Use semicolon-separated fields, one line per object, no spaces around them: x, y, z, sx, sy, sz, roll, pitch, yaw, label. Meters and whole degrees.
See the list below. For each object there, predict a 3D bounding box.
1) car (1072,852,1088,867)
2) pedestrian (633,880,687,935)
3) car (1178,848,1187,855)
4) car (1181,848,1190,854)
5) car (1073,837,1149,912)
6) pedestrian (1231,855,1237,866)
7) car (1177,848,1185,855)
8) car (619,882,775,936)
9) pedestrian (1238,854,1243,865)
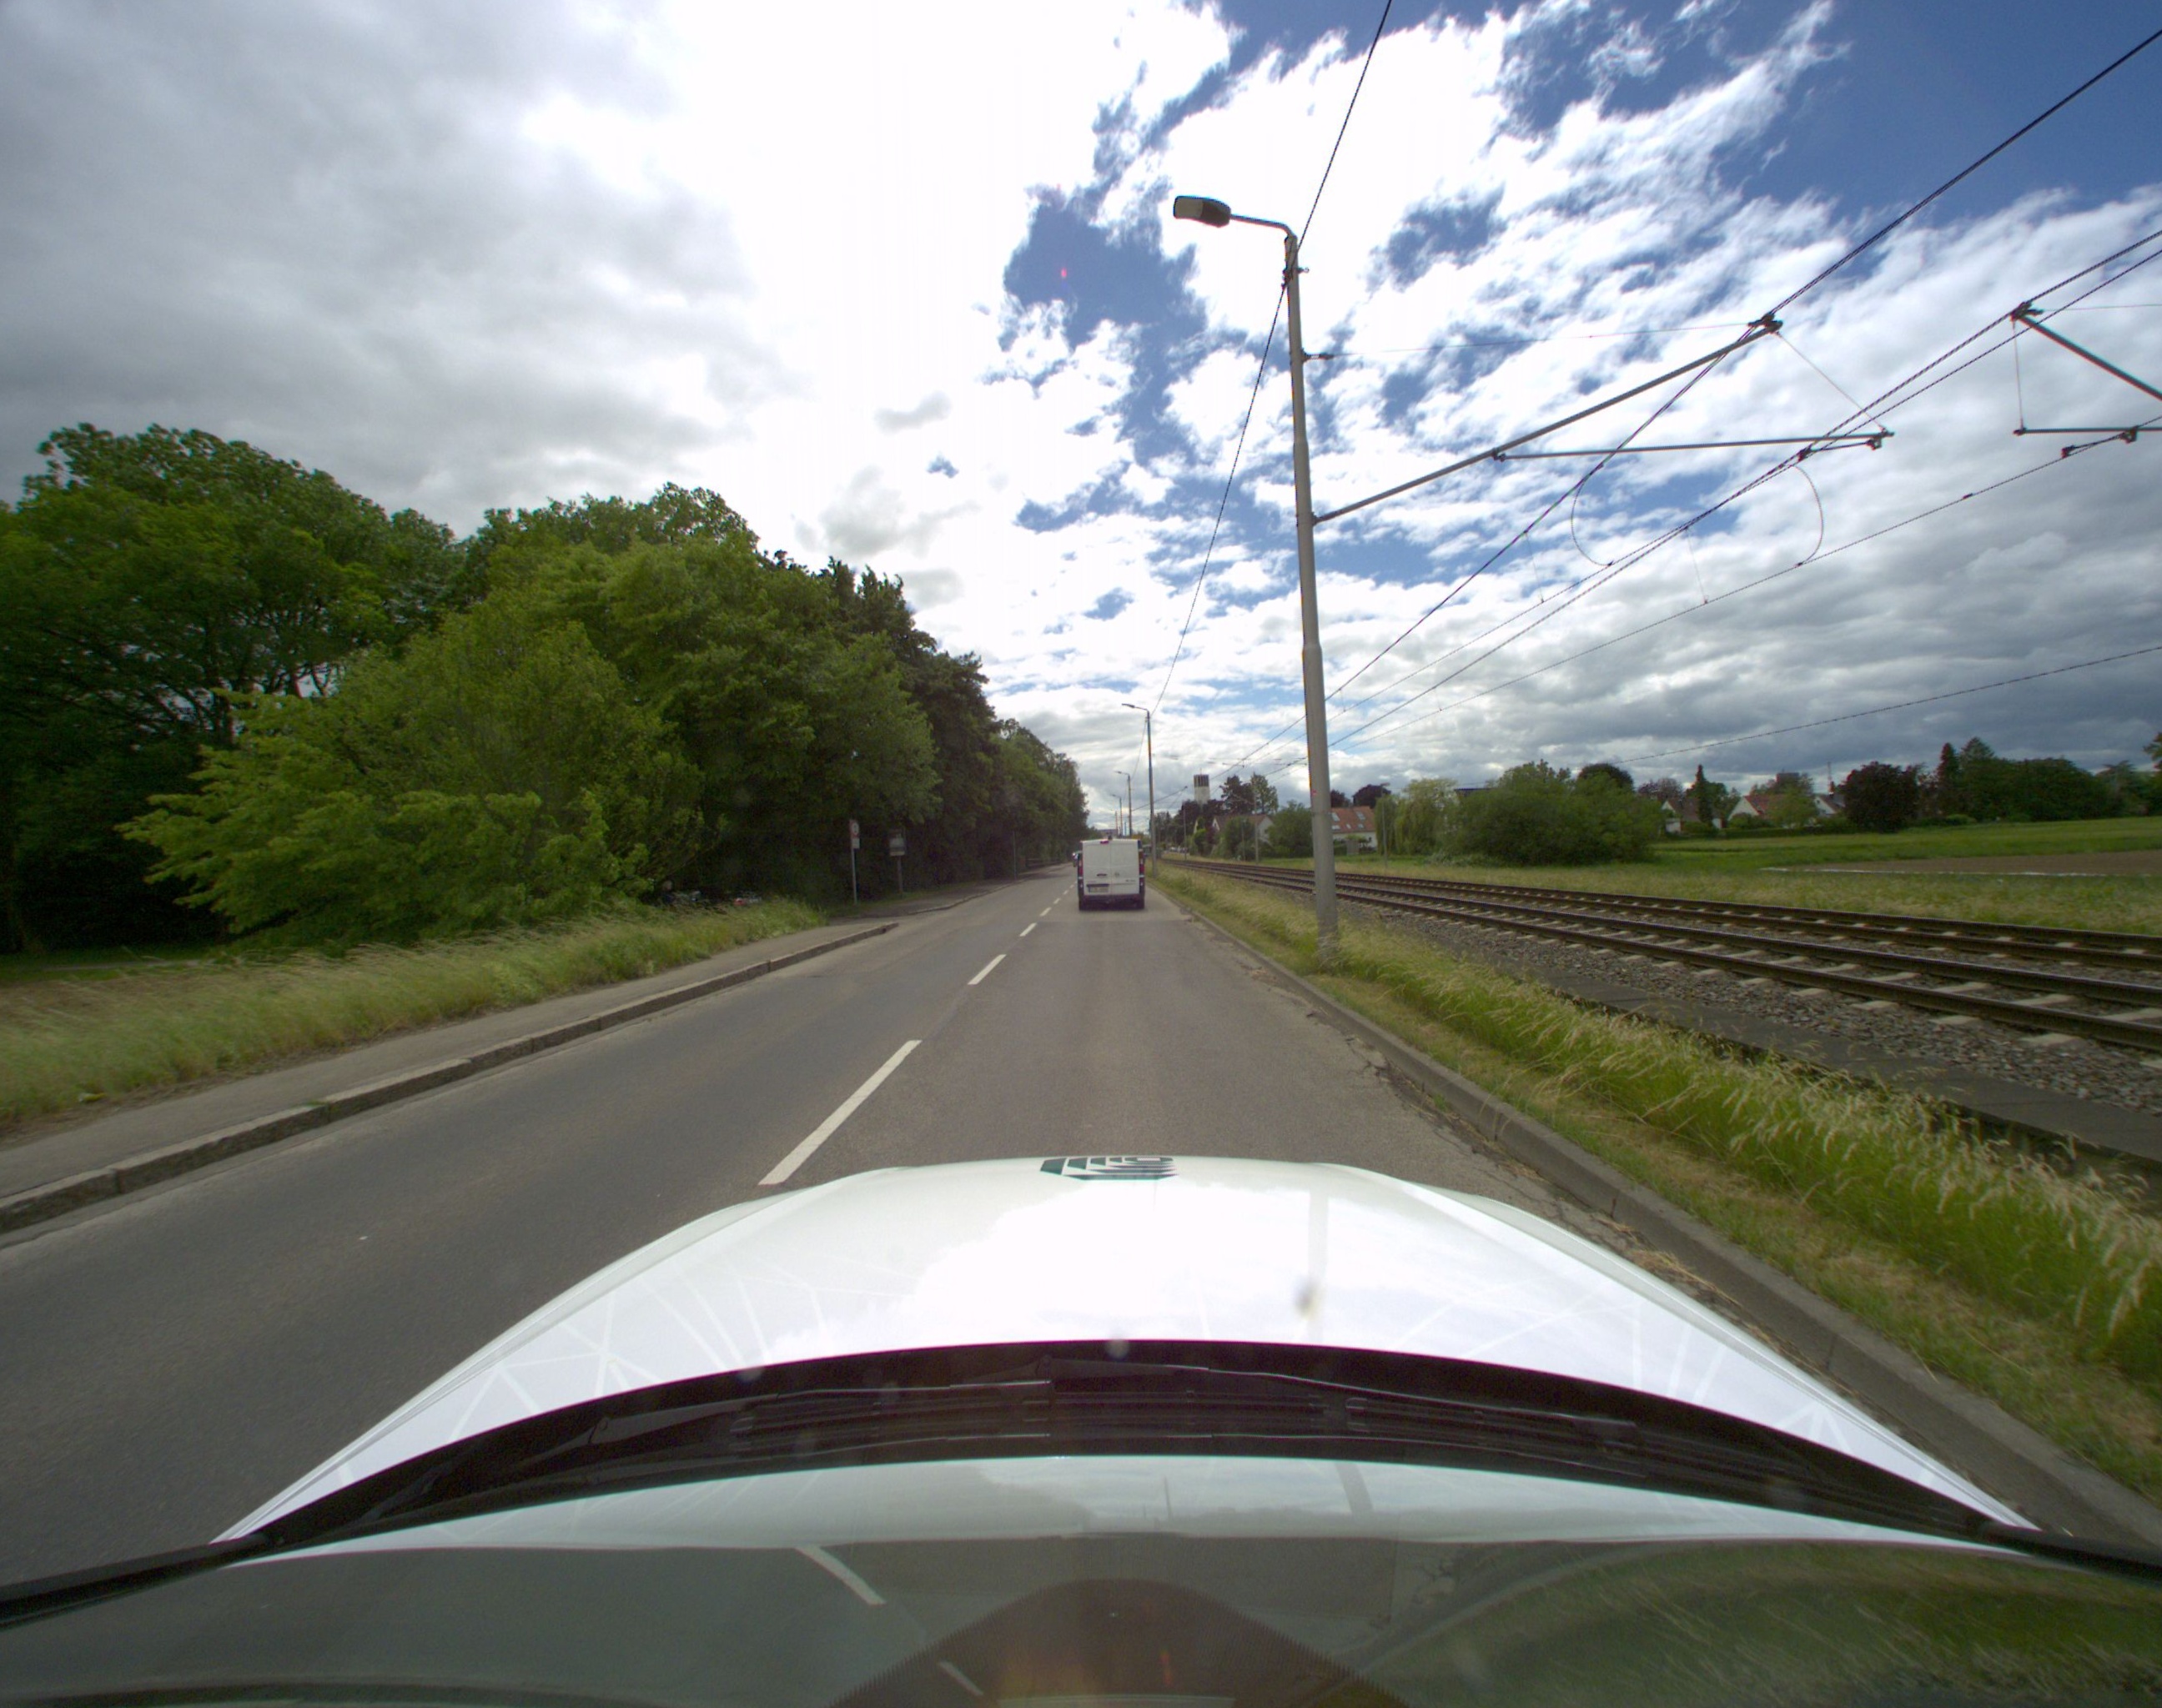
-0.092;0.717;105.283;1.987;1.717;4.123;-2;0;0;car
-12.503;1.589;24.232;1.031;1.530;0.942;-3;-1;2;pedestrian
29.471;-0.771;236.432;1.987;1.816;3.999;0;-2;0;car
29.639;-0.843;230.390;1.987;1.717;3.999;0;-2;0;car
0.833;0.528;23.817;1.987;1.957;4.000;-1;0;0;car
21.591;0.951;114.753;0.654;1.506;0.657;-2;-1;0;pedestrian
29.581;-0.819;240.779;1.987;2.014;3.999;0;-2;0;car
-11.991;1.711;25.592;3.970;1.299;1.746;-5;-1;3;car
22.326;0.807;114.332;0.524;1.506;0.657;-2;-1;1;pedestrian
